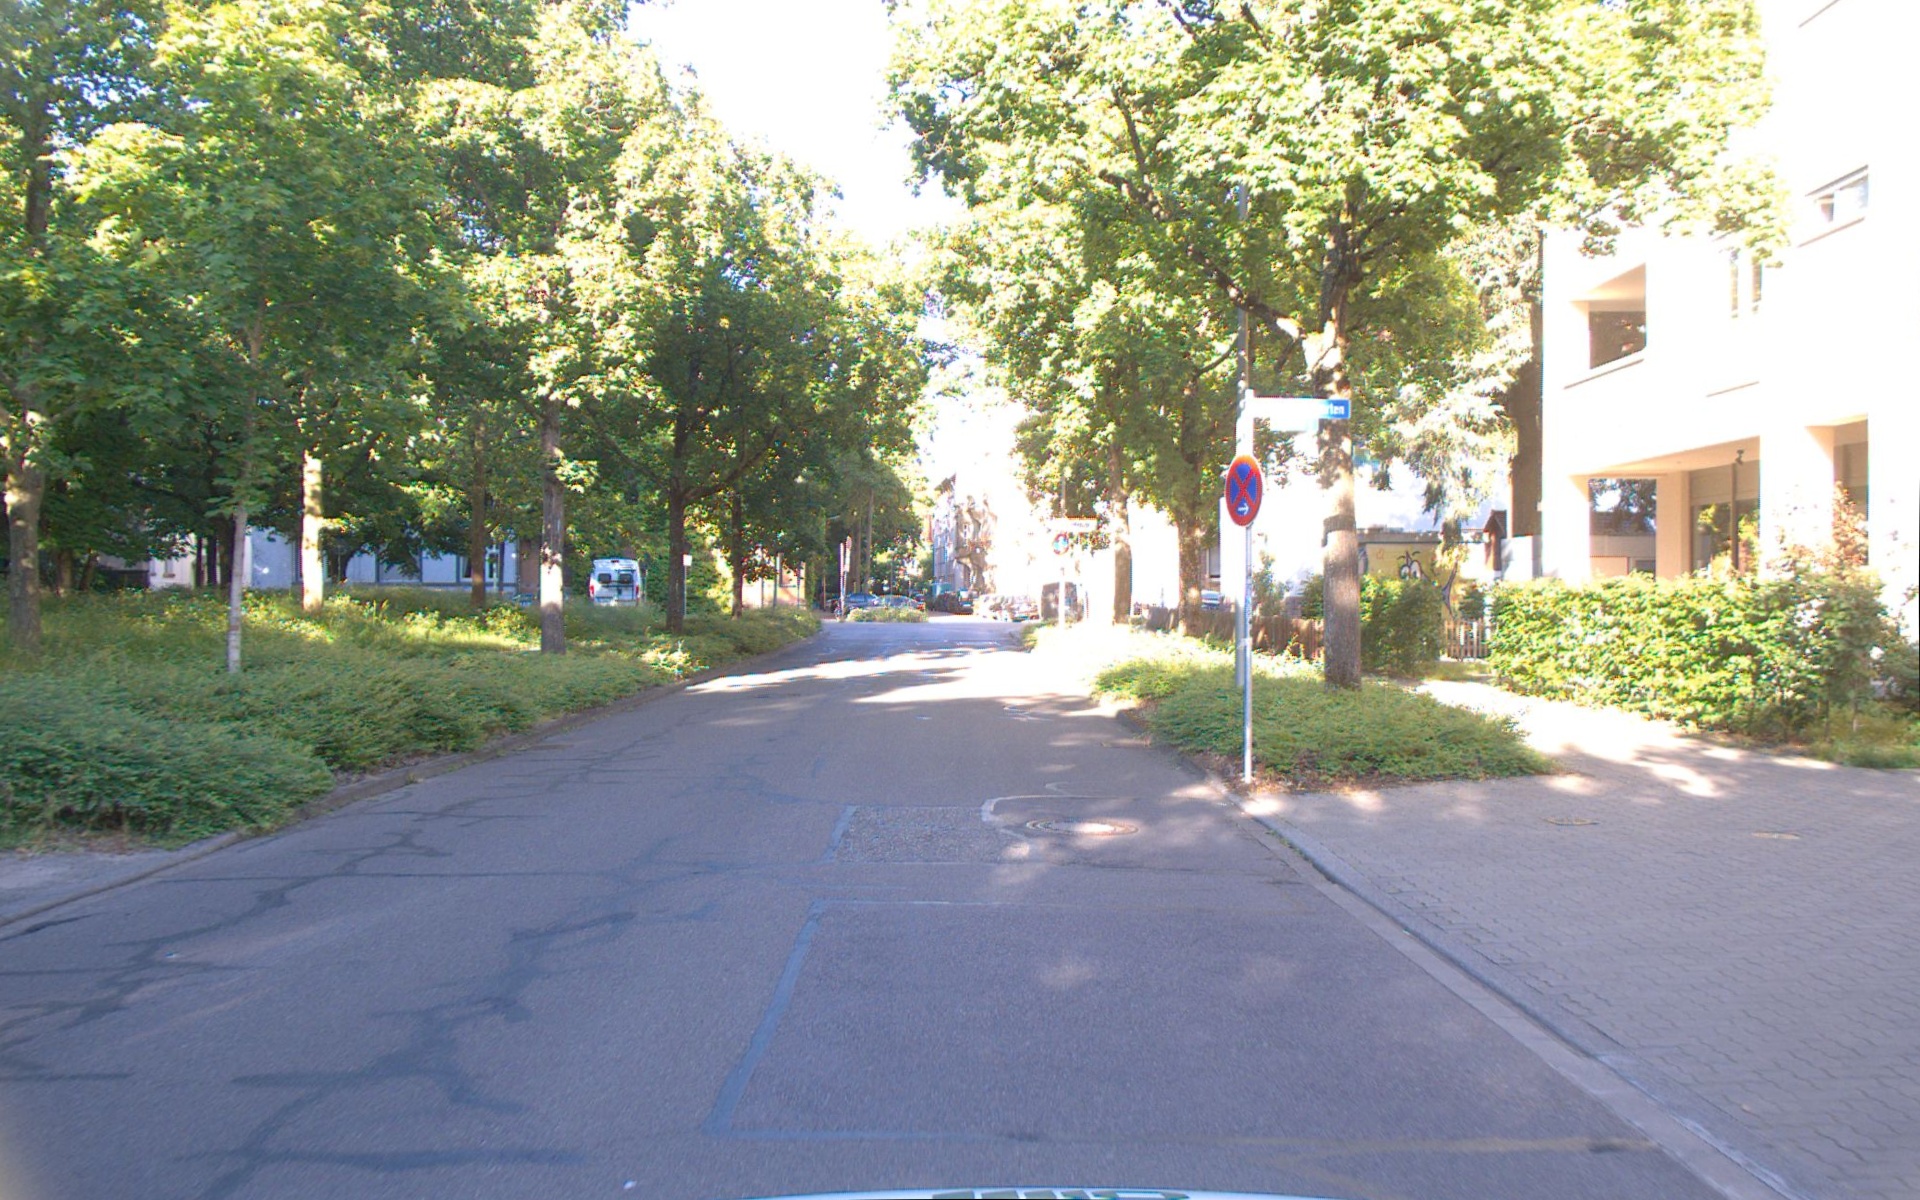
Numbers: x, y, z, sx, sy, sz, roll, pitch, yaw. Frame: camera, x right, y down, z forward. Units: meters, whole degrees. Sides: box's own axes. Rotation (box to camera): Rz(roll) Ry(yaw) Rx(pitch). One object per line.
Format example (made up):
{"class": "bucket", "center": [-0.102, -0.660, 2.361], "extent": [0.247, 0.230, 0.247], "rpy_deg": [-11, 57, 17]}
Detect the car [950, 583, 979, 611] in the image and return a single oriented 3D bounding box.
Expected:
{"class": "car", "center": [0.313, -0.248, 119.970], "extent": [1.775, 1.959, 3.997], "rpy_deg": [2, 0, -4]}

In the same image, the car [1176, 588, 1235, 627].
{"class": "car", "center": [10.621, 0.299, 71.645], "extent": [1.953, 1.612, 3.639], "rpy_deg": [1, 0, -1]}

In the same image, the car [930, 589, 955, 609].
{"class": "car", "center": [-1.431, -0.115, 135.041], "extent": [1.775, 1.527, 3.997], "rpy_deg": [2, 0, -4]}

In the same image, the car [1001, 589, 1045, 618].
{"class": "car", "center": [3.478, 0.170, 91.512], "extent": [1.777, 1.527, 3.993], "rpy_deg": [0, 0, -8]}

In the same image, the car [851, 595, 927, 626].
{"class": "car", "center": [-3.832, 0.557, 89.199], "extent": [3.912, 1.527, 1.814], "rpy_deg": [2, 0, -8]}

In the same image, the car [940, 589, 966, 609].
{"class": "car", "center": [-0.552, -0.083, 128.276], "extent": [1.775, 1.527, 3.997], "rpy_deg": [2, 0, -4]}

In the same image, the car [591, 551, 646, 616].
{"class": "car", "center": [-13.994, -0.668, 67.893], "extent": [1.957, 2.552, 3.992], "rpy_deg": [1, 0, -9]}

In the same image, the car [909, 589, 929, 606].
{"class": "car", "center": [-3.999, -0.239, 161.844], "extent": [1.775, 1.527, 3.997], "rpy_deg": [2, 0, -4]}

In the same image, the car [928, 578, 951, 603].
{"class": "car", "center": [-1.779, -0.809, 144.998], "extent": [1.775, 2.086, 3.997], "rpy_deg": [2, 0, -4]}

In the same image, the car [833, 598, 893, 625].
{"class": "car", "center": [-5.957, 0.726, 101.605], "extent": [3.520, 1.536, 1.497], "rpy_deg": [2, 0, -8]}
